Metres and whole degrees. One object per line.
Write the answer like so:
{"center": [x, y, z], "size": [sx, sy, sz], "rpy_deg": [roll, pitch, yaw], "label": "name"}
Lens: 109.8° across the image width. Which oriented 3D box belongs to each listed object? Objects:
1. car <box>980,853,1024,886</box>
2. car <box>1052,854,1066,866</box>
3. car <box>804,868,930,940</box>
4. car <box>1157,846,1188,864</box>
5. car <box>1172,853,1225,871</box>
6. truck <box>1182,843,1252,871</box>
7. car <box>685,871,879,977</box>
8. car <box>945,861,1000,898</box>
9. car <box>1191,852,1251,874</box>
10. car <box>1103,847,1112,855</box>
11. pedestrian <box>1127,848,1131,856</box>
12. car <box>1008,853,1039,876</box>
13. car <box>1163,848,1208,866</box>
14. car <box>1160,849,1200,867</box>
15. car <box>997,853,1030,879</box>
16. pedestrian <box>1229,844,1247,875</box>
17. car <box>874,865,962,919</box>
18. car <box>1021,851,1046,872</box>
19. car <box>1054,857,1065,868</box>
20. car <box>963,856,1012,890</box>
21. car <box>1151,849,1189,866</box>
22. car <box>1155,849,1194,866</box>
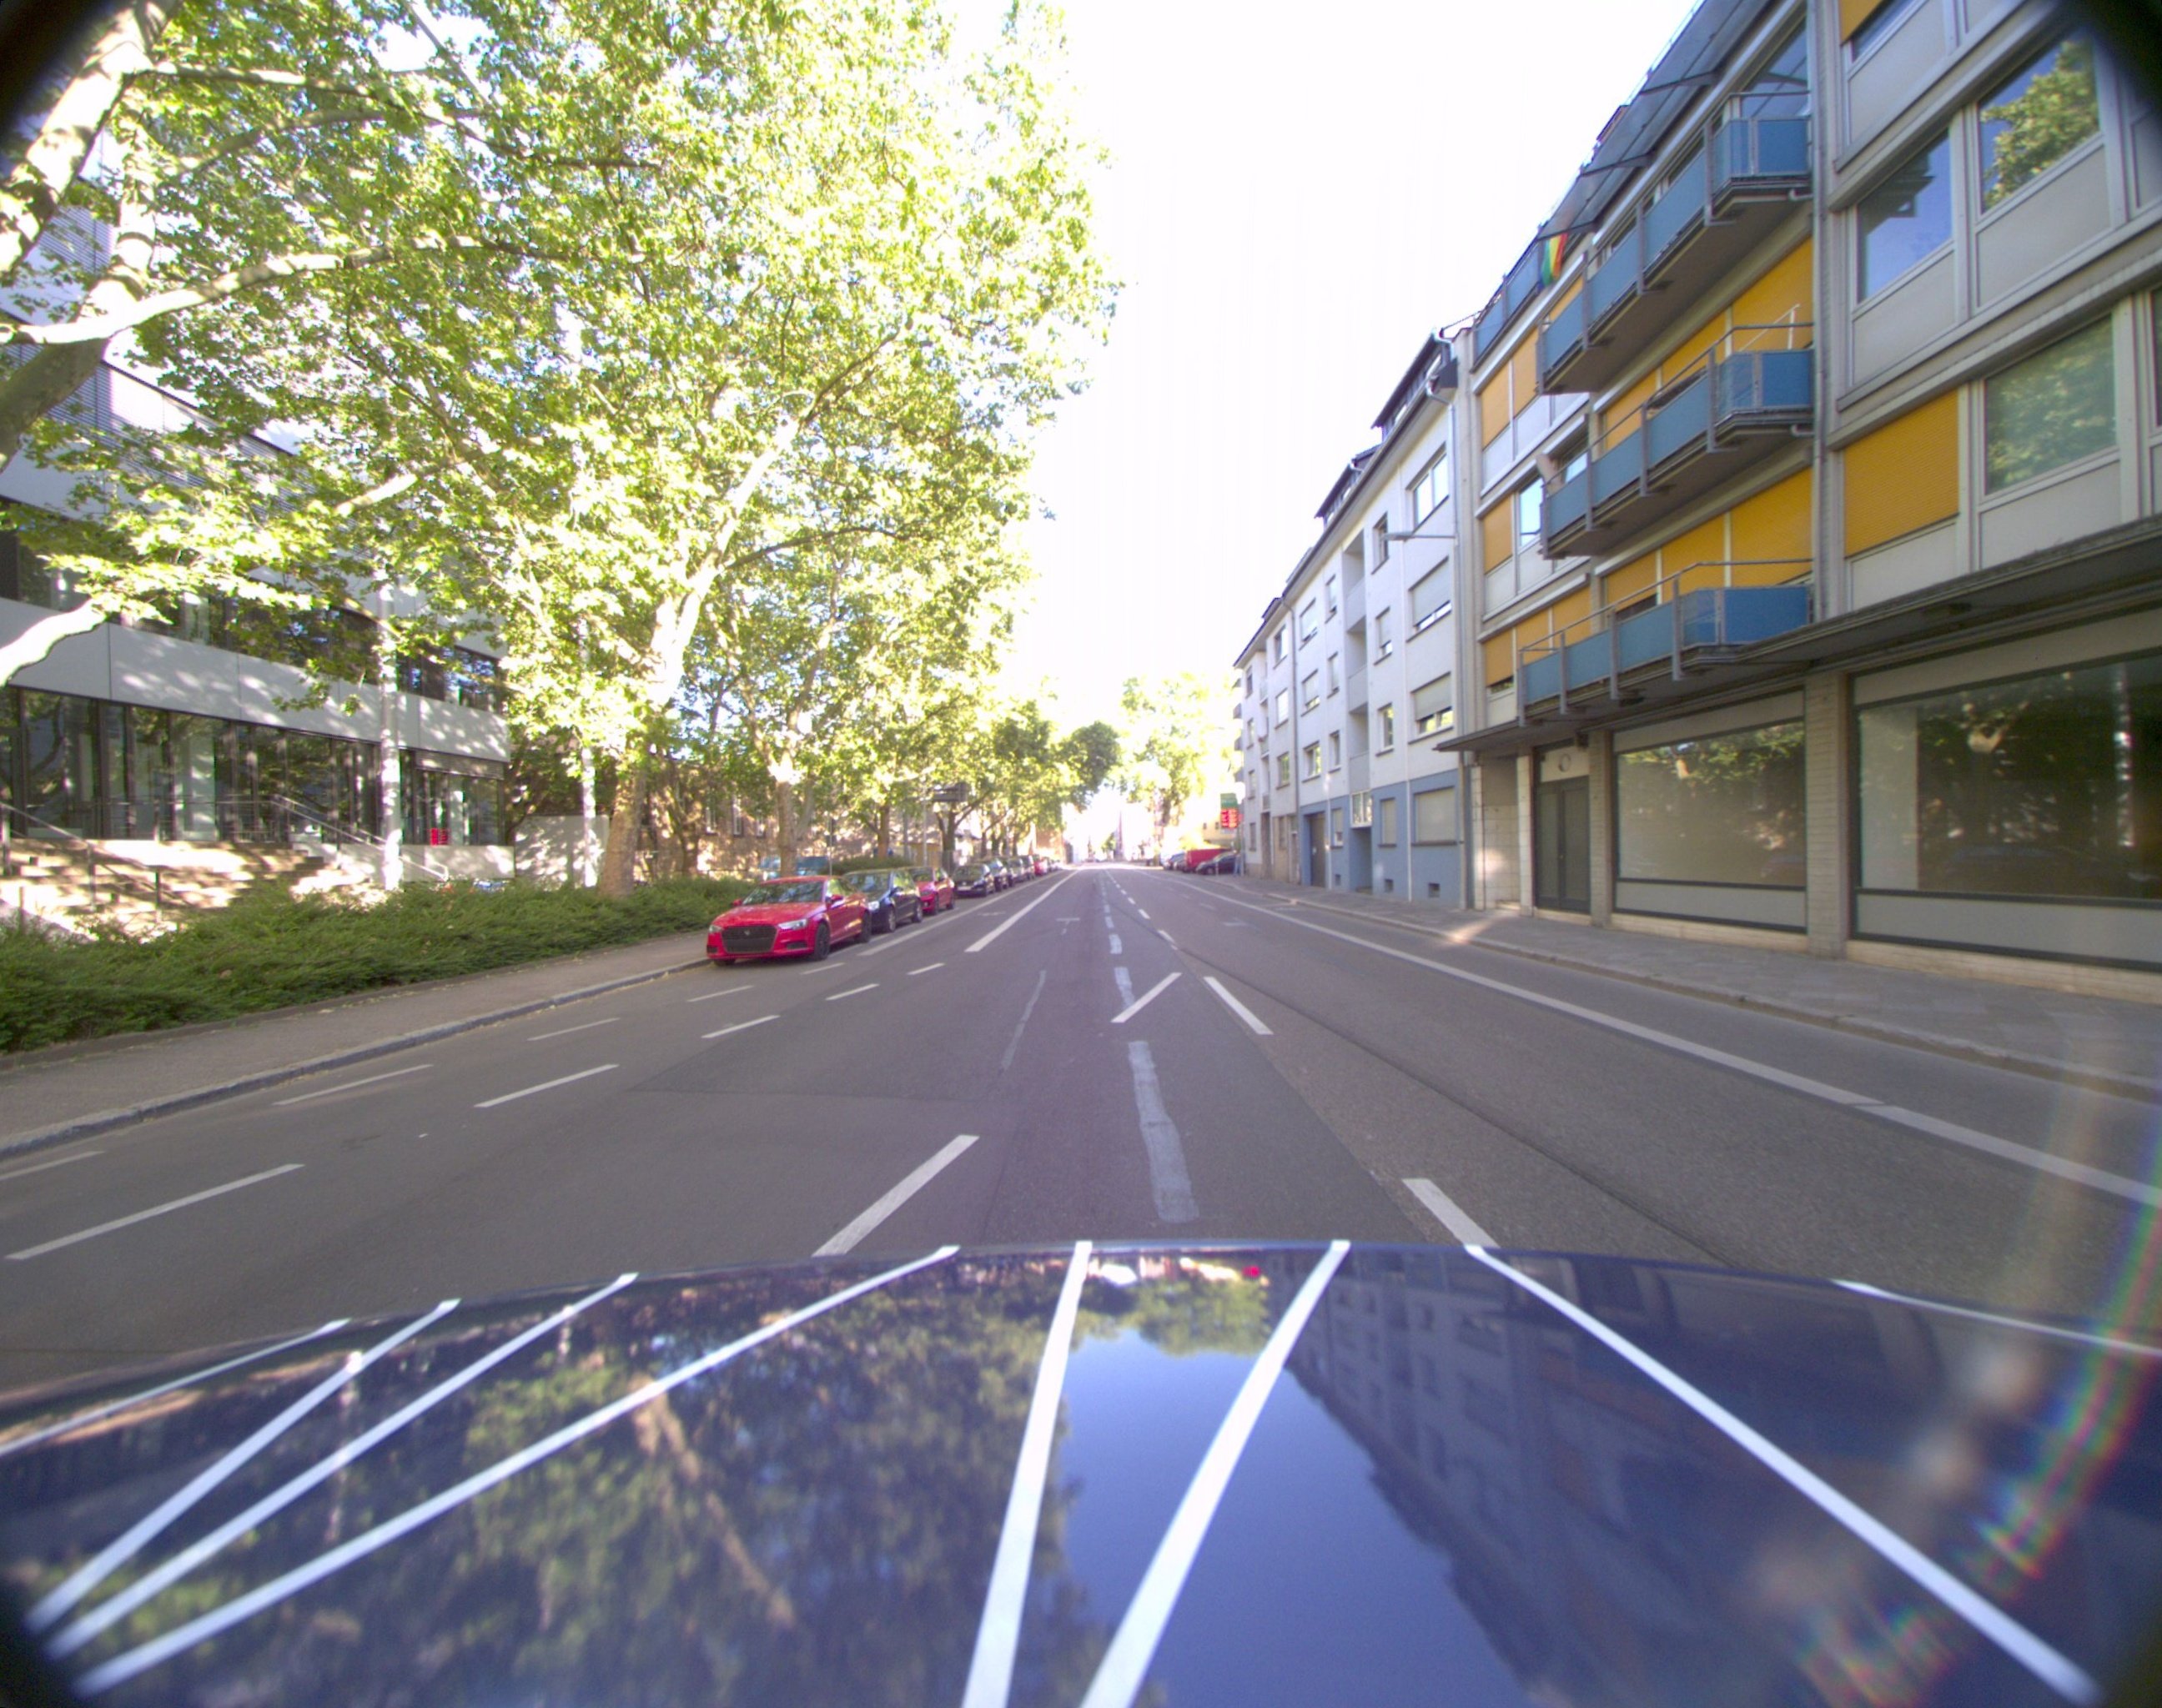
{"center": [-4.542, 0.865, 44.198], "size": [1.998, 1.715, 4.262], "rpy_deg": [-2, 1, 1], "label": "car"}
{"center": [-2.943, 0.810, 102.852], "size": [1.707, 1.459, 3.809], "rpy_deg": [-1, 0, 0], "label": "car"}
{"center": [-5.067, 1.121, 18.572], "size": [1.813, 1.449, 4.000], "rpy_deg": [-1, 0, 2], "label": "car"}
{"center": [10.231, 0.095, 85.228], "size": [3.267, 1.927, 1.693], "rpy_deg": [-2, 1, 2], "label": "car"}
{"center": [9.668, 0.649, 62.828], "size": [4.033, 1.265, 1.906], "rpy_deg": [-2, 1, -1], "label": "car"}
{"center": [10.730, 0.225, 60.101], "size": [5.088, 2.009, 2.000], "rpy_deg": [-2, 1, 0], "label": "truck"}
{"center": [-5.102, 1.116, 13.639], "size": [1.775, 1.416, 4.173], "rpy_deg": [-3, 0, 0], "label": "car"}
{"center": [-4.674, 1.079, 33.269], "size": [1.745, 1.430, 4.000], "rpy_deg": [-1, 0, 1], "label": "car"}
{"center": [10.074, 0.620, 54.795], "size": [3.997, 1.385, 1.781], "rpy_deg": [-2, 1, -1], "label": "car"}
{"center": [6.767, -0.809, 193.467], "size": [1.998, 2.002, 3.999], "rpy_deg": [-2, 1, 1], "label": "car"}
{"center": [12.776, -0.526, 203.234], "size": [0.613, 1.981, 0.711], "rpy_deg": [-1, 2, 40], "label": "pedestrian"}
{"center": [-4.166, 0.747, 55.515], "size": [1.831, 1.608, 4.177], "rpy_deg": [-1, 0, 1], "label": "car"}
{"center": [10.080, 0.278, 73.366], "size": [3.998, 1.618, 1.702], "rpy_deg": [-2, 1, -5], "label": "car"}
{"center": [9.882, 0.369, 75.915], "size": [3.658, 1.578, 1.659], "rpy_deg": [-2, 1, -5], "label": "car"}
{"center": [-4.438, 0.736, 50.459], "size": [1.798, 1.608, 4.075], "rpy_deg": [-1, 0, 1], "label": "car"}
{"center": [9.323, 0.329, 45.140], "size": [0.896, 1.761, 0.741], "rpy_deg": [-2, 1, 1], "label": "pedestrian"}
{"center": [-4.972, 1.107, 23.724], "size": [1.790, 1.429, 4.000], "rpy_deg": [-1, 0, 1], "label": "car"}
{"center": [-4.105, 0.611, 66.185], "size": [1.876, 1.685, 4.166], "rpy_deg": [-1, 0, 1], "label": "car"}
{"center": [-2.626, 1.023, 92.497], "size": [1.300, 1.220, 3.241], "rpy_deg": [-1, 0, 0], "label": "car"}
{"center": [-4.620, 0.918, 38.215], "size": [1.848, 1.572, 4.232], "rpy_deg": [-2, 0, 1], "label": "car"}
{"center": [9.488, 0.361, 80.865], "size": [3.728, 1.579, 1.743], "rpy_deg": [-2, 1, -5], "label": "car"}
{"center": [9.618, 0.365, 78.574], "size": [3.703, 1.573, 1.718], "rpy_deg": [-2, 1, -5], "label": "car"}
